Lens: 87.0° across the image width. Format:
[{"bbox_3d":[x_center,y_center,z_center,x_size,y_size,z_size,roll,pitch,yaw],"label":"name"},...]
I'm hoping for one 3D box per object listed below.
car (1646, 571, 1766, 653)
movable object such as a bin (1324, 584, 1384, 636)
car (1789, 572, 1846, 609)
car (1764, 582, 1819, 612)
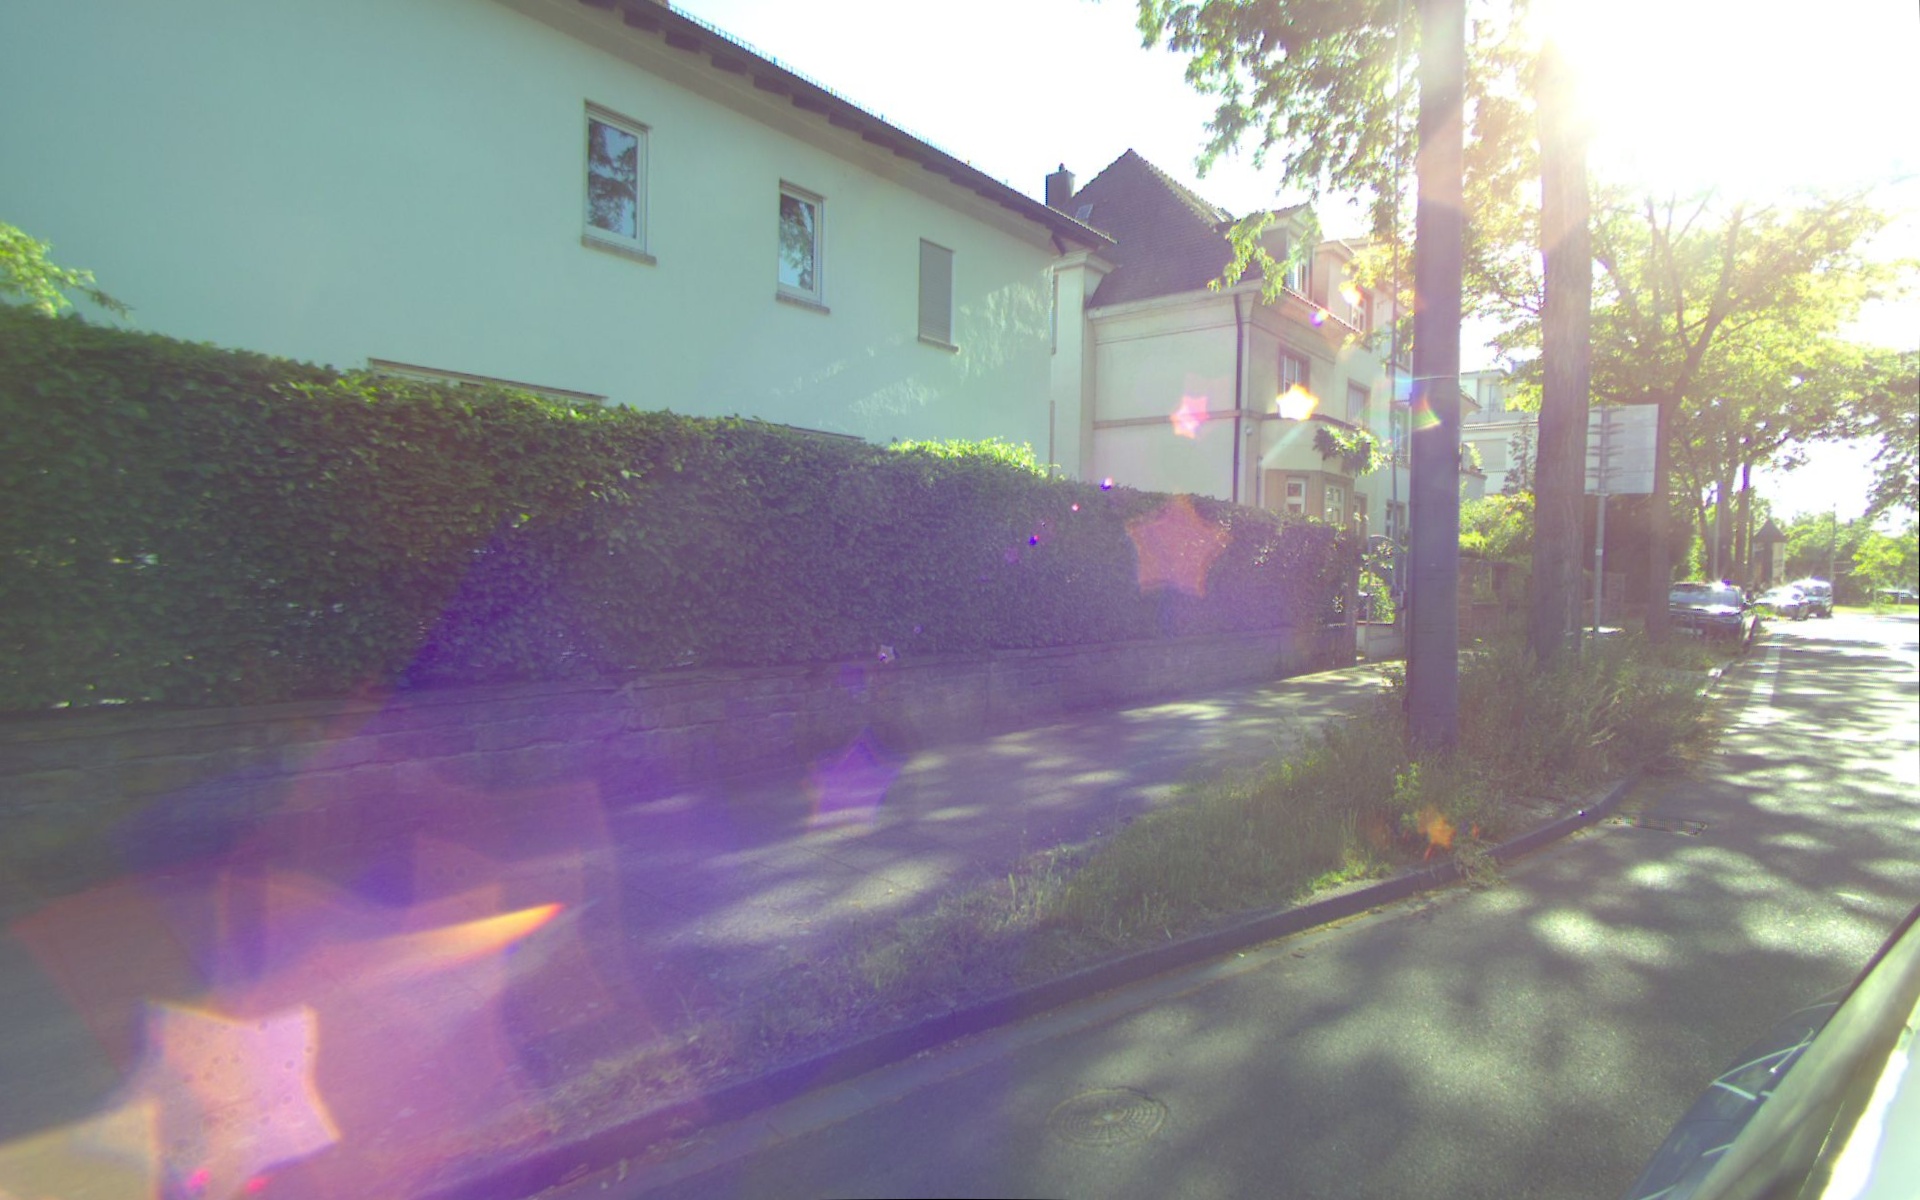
[{"bbox_3d":[17.770,0.196,24.037,1.992,1.765,4.110,2,2,41],"label":"car"},{"bbox_3d":[8.431,0.192,21.698,0.712,1.068,0.969,0,1,-23],"label":"movable object such as a bin"},{"bbox_3d":[44.950,-0.515,52.996,4.179,1.852,1.901,-1,2,-45],"label":"car"},{"bbox_3d":[40.178,-0.157,48.875,1.716,1.356,3.855,2,2,45],"label":"car"}]
